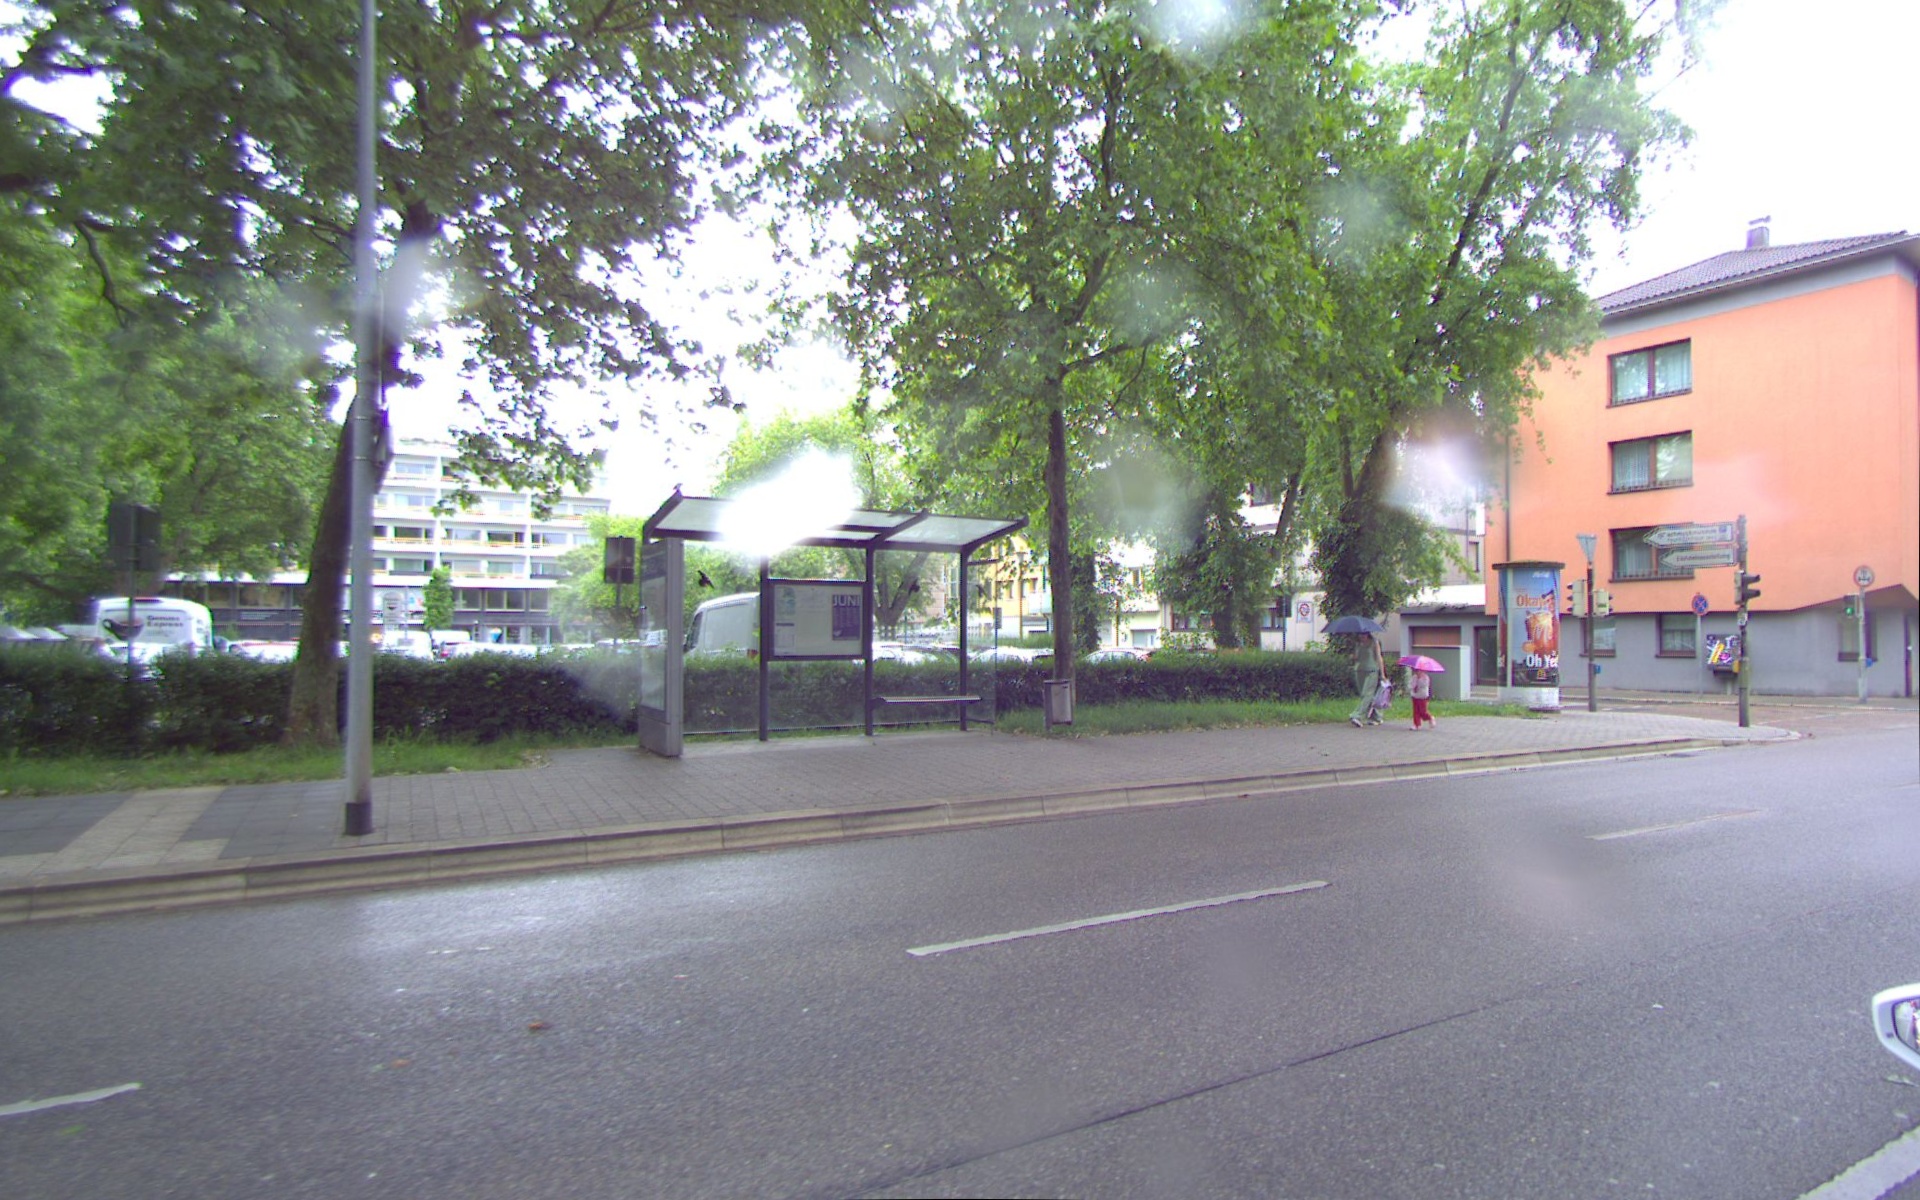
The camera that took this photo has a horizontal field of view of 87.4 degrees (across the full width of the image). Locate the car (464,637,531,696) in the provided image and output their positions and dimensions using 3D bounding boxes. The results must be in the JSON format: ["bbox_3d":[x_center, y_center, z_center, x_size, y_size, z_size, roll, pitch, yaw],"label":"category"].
[{"bbox_3d":[-12.280,1.730,26.588,1.375,1.454,3.248,1,-3,-29],"label":"car"}]

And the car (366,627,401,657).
[{"bbox_3d":[-33.201,2.425,57.822,1.622,1.544,3.174,2,0,-32],"label":"car"}]

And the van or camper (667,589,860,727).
[{"bbox_3d":[-3.740,1.037,18.501,2.026,2.198,4.458,2,-3,-32],"label":"van or camper"}]

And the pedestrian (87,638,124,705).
[{"bbox_3d":[-16.110,1.334,18.946,0.462,1.229,0.434,2,0,-37],"label":"pedestrian"}]

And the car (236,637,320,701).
[{"bbox_3d":[-16.683,1.666,24.689,1.375,1.454,3.248,1,-3,-29],"label":"car"}]

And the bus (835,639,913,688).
[{"bbox_3d":[-2.715,1.953,31.391,1.364,1.451,2.777,2,-3,-30],"label":"bus"}]

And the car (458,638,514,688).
[{"bbox_3d":[-14.814,1.948,31.340,1.375,1.454,3.248,1,-3,-29],"label":"car"}]

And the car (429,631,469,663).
[{"bbox_3d":[-27.468,2.493,53.980,1.622,1.544,3.174,2,0,-32],"label":"car"}]

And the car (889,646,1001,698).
[{"bbox_3d":[-0.553,2.277,32.458,1.799,1.535,3.965,2,-3,-33],"label":"car"}]

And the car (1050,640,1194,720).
[{"bbox_3d":[3.631,1.762,22.930,1.492,1.544,3.174,2,0,-32],"label":"car"}]

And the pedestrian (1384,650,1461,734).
[{"bbox_3d":[6.946,1.364,15.090,0.817,1.190,0.681,1,0,-30],"label":"pedestrian"}]

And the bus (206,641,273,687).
[{"bbox_3d":[-25.718,2.261,35.919,1.587,1.559,3.403,2,-3,-30],"label":"bus"}]

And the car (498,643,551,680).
[{"bbox_3d":[-17.863,2.494,41.136,1.587,1.447,3.293,2,-3,-30],"label":"car"}]

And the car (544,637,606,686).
[{"bbox_3d":[-12.128,1.915,31.581,1.375,1.454,3.248,1,-3,-29],"label":"car"}]

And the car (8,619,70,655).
[{"bbox_3d":[-41.049,1.642,44.805,1.412,1.447,2.941,1,0,-30],"label":"car"}]

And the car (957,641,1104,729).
[{"bbox_3d":[1.409,1.722,21.061,1.492,1.544,3.174,2,0,-32],"label":"car"}]

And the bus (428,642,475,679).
[{"bbox_3d":[-22.538,2.641,44.471,1.587,1.559,3.403,2,-3,-30],"label":"bus"}]

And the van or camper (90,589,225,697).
[{"bbox_3d":[-20.867,1.144,26.328,2.074,2.570,4.392,2,-3,-30],"label":"van or camper"}]

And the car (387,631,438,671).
[{"bbox_3d":[-21.067,1.964,38.589,1.587,1.447,3.293,2,-3,-30],"label":"car"}]

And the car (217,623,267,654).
[{"bbox_3d":[-34.025,1.842,47.657,1.587,1.447,3.293,2,-3,-30],"label":"car"}]

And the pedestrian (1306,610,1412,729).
[{"bbox_3d":[6.213,1.051,15.671,1.195,1.765,0.987,1,0,-30],"label":"pedestrian"}]

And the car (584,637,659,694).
[{"bbox_3d":[-9.283,1.760,27.402,1.375,1.454,3.248,1,-3,-29],"label":"car"}]

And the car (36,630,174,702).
[{"bbox_3d":[-19.056,1.441,22.537,1.680,1.467,3.406,1,-3,-29],"label":"car"}]

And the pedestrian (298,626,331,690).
[{"bbox_3d":[-12.616,1.128,19.623,0.481,1.229,0.434,2,0,-37],"label":"pedestrian"}]

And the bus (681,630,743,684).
[{"bbox_3d":[-8.239,1.865,33.287,1.363,1.698,2.779,2,-3,-28],"label":"bus"}]
